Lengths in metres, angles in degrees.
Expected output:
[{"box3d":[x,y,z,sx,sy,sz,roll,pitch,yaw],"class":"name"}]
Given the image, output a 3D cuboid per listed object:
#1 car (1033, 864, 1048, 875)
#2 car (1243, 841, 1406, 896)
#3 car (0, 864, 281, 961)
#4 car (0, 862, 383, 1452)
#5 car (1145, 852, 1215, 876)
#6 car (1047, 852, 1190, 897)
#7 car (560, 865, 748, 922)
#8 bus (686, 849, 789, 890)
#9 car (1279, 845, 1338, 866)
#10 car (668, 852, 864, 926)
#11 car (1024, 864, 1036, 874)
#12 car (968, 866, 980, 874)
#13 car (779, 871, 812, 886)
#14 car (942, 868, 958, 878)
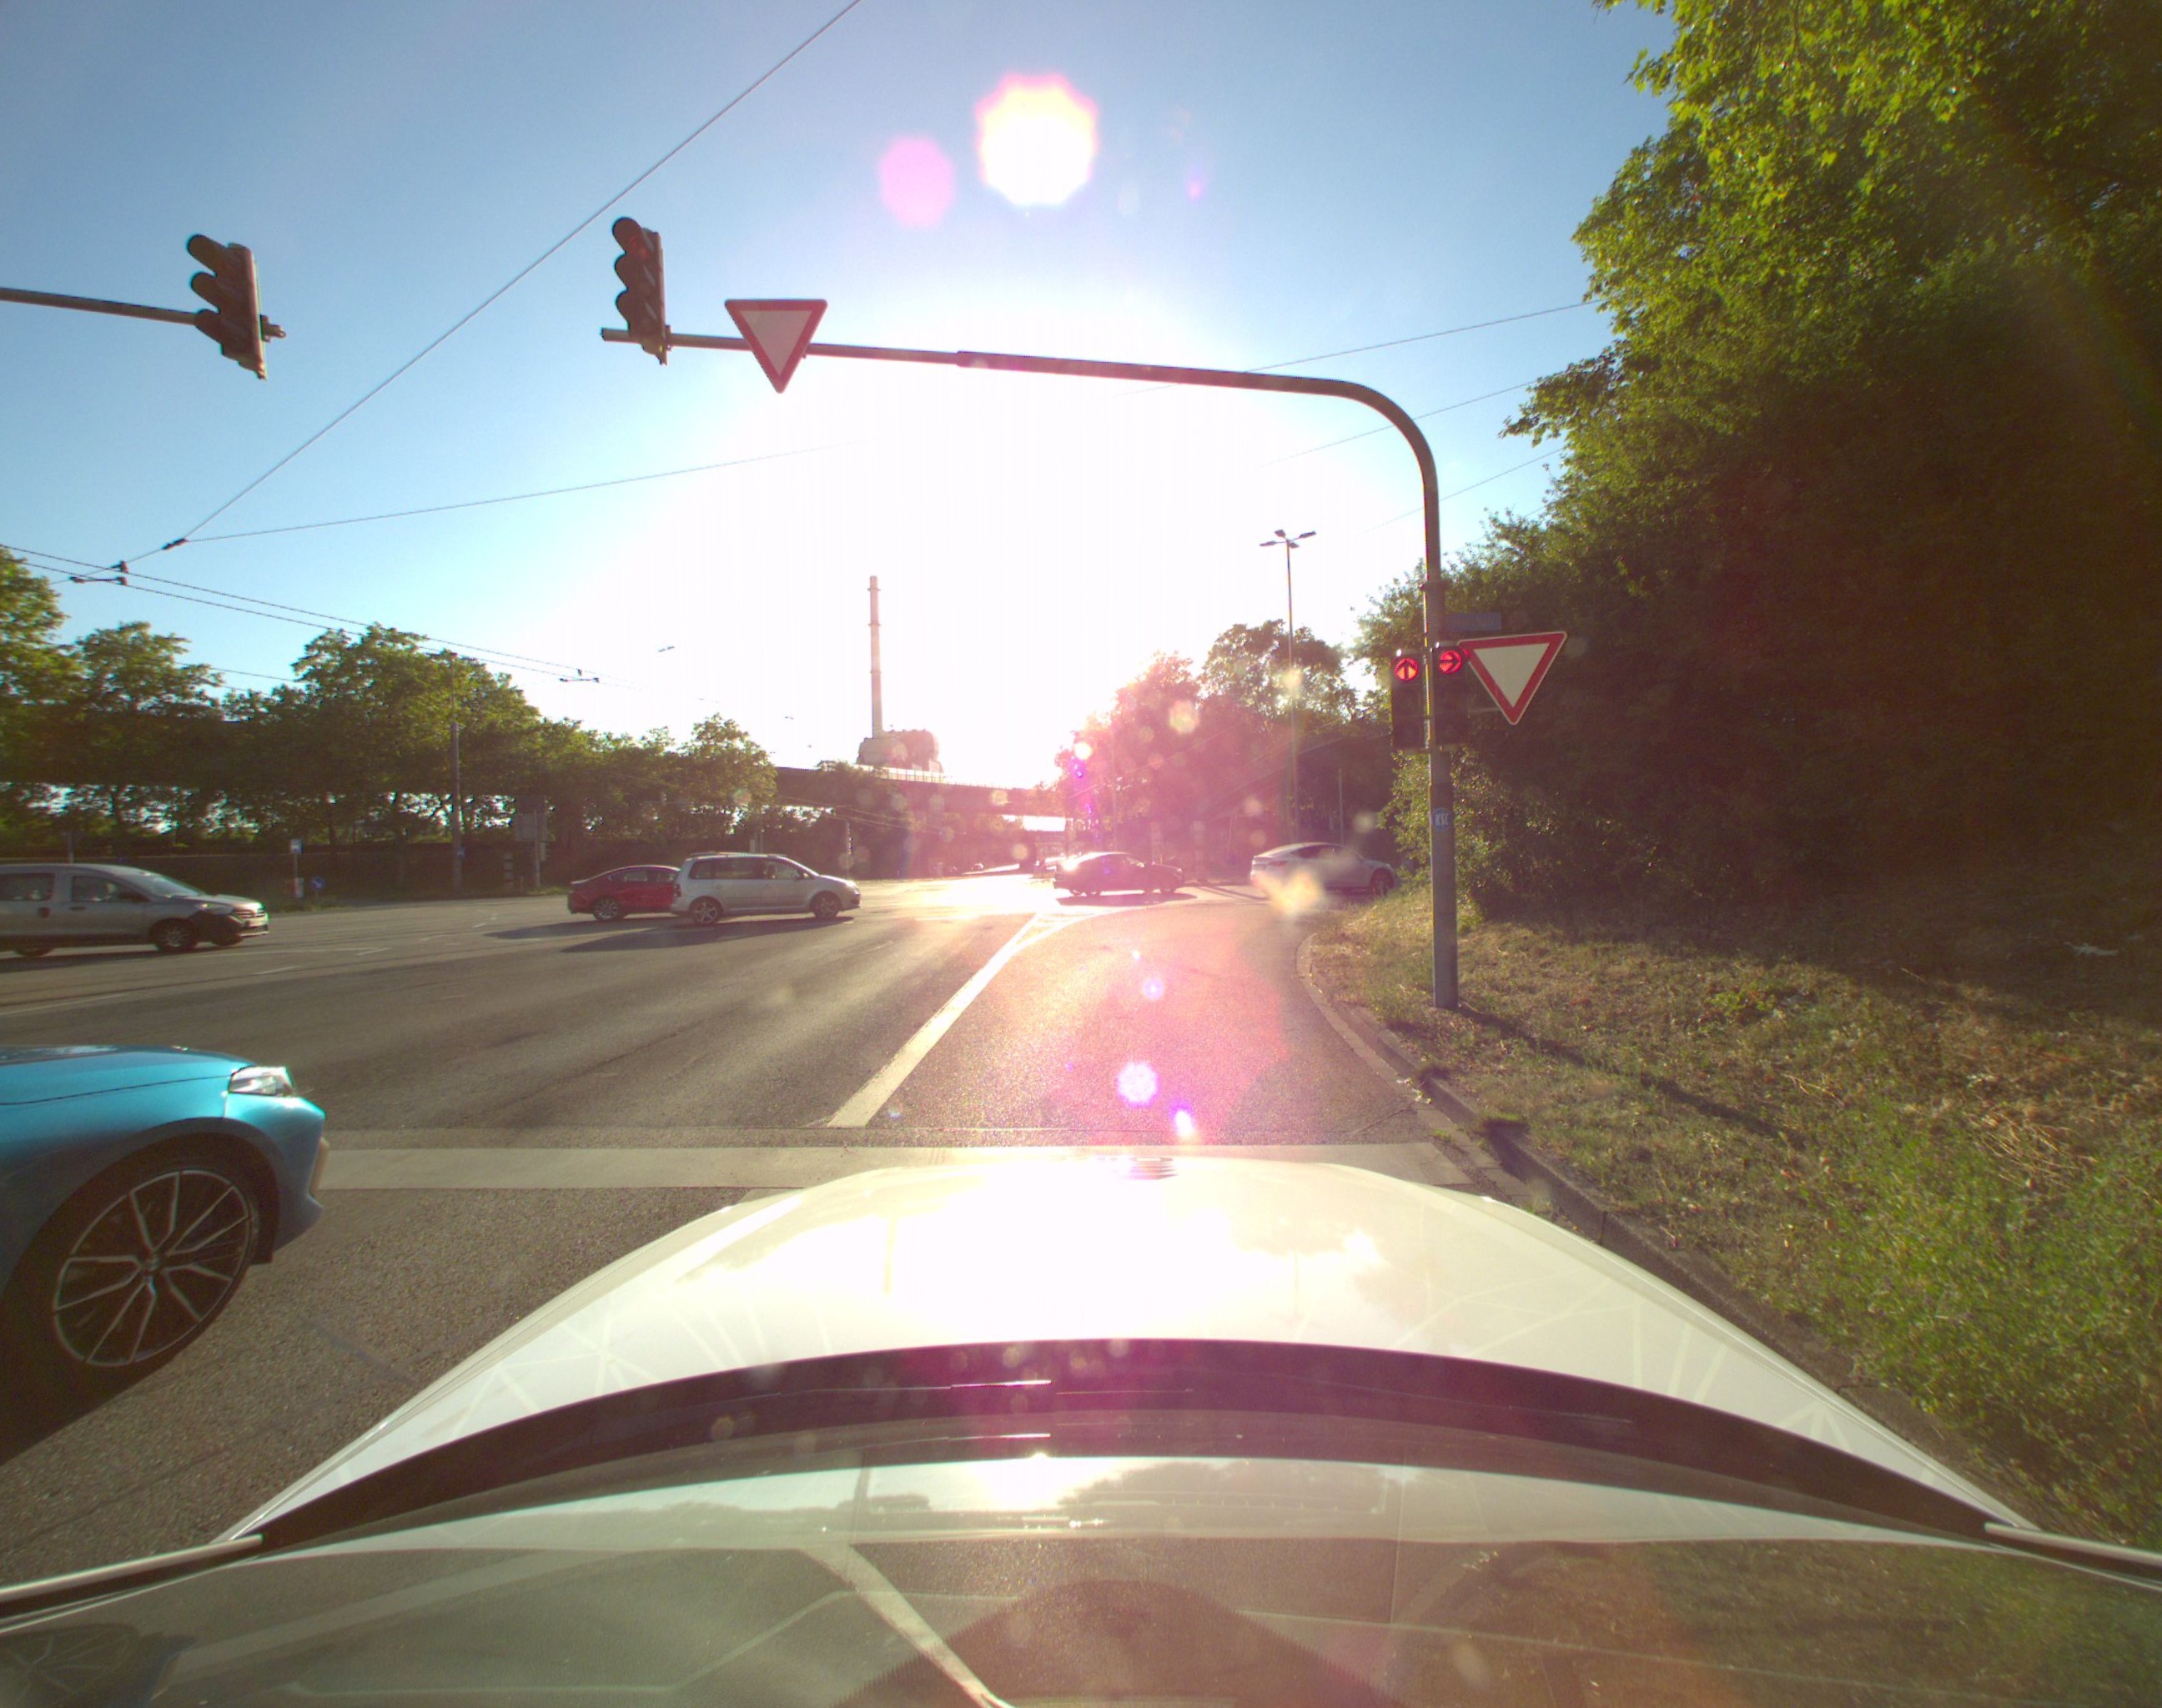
[{"box3d":[-5.513,2.137,109.923,1.659,1.405,4.198,-1,0,2],"class":"car"},{"box3d":[7.544,0.419,25.267,4.766,1.575,1.683,-1,0,-19],"class":"car"},{"box3d":[-18.841,1.071,15.775,4.417,1.678,1.681,-1,0,-22],"class":"car"},{"box3d":[-3.564,0.794,1.055,1.709,1.466,4.205,-2,0,-1],"class":"car"},{"box3d":[6.940,0.670,57.033,4.585,1.575,1.685,-1,0,-16],"class":"car"},{"box3d":[1.251,0.656,27.360,4.490,1.369,1.683,-1,0,-19],"class":"car"},{"box3d":[-11.412,1.031,22.103,4.287,1.364,1.613,-1,0,-19],"class":"car"},{"box3d":[-29.481,1.376,70.784,2.532,3.130,12.931,-2,-2,4],"class":"bus"},{"box3d":[16.950,0.130,60.730,4.005,1.512,1.684,-1,0,-17],"class":"car"},{"box3d":[-7.630,0.797,20.037,4.287,1.631,1.682,-1,0,-20],"class":"car"},{"box3d":[-8.188,2.383,130.940,1.659,1.405,4.446,-1,0,1],"class":"car"},{"box3d":[-20.887,3.055,158.938,1.600,1.419,4.012,-1,0,3],"class":"car"},{"box3d":[-28.567,2.449,81.600,1.600,1.419,4.012,-1,0,3],"class":"car"},{"box3d":[-20.151,2.965,125.408,1.600,1.419,4.012,-1,0,3],"class":"car"}]
